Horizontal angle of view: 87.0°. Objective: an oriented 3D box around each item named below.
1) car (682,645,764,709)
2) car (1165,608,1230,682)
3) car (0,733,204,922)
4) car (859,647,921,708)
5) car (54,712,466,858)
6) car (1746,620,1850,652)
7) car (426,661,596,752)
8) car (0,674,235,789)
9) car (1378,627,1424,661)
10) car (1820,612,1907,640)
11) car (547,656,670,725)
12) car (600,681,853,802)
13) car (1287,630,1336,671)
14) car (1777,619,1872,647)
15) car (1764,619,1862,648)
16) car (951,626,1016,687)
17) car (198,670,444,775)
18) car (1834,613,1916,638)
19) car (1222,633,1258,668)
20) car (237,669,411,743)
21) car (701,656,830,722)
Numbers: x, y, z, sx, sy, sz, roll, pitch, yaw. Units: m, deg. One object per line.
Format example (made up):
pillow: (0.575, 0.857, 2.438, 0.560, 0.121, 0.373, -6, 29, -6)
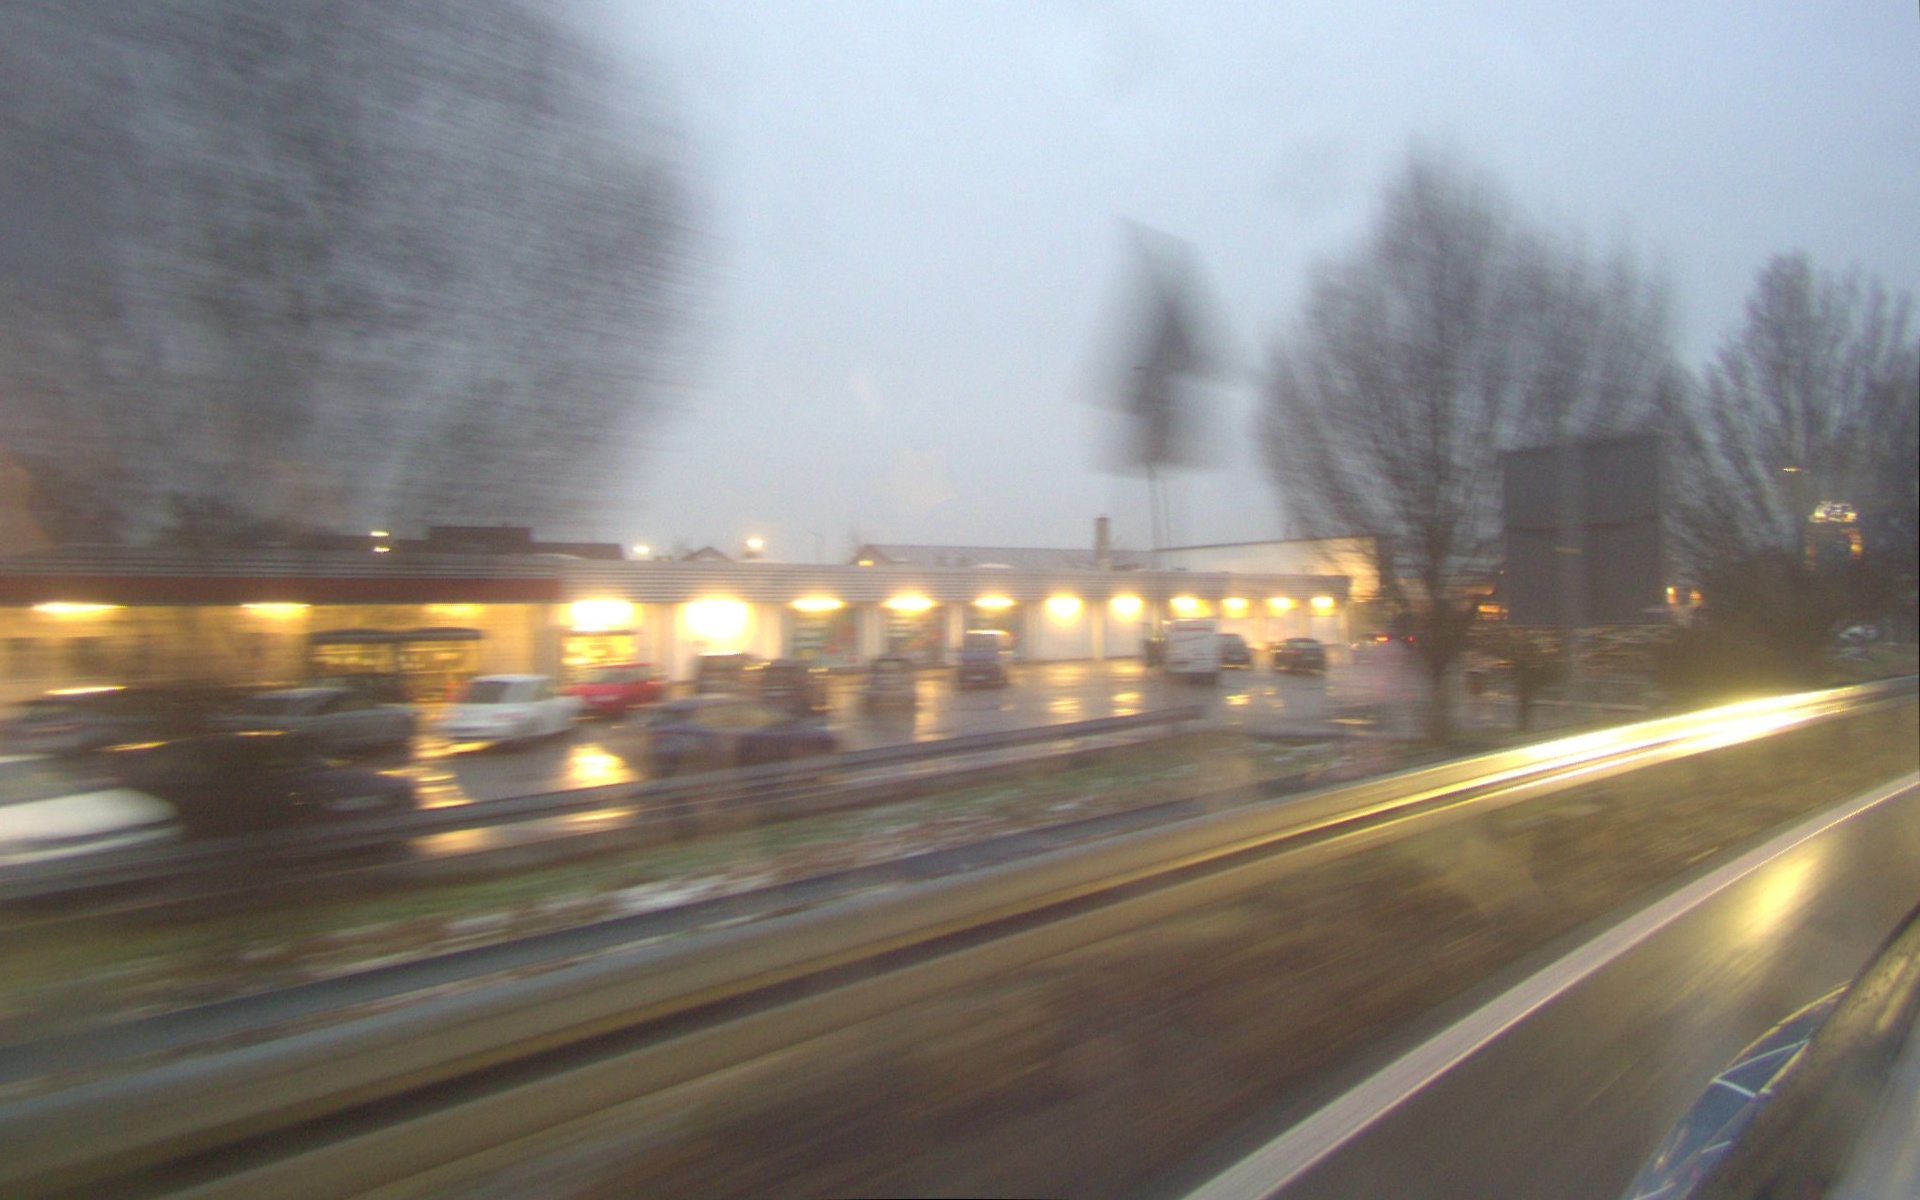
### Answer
car: (-7.142, 2.289, 30.837, 1.766, 1.615, 3.982, 0, 0, -3)
car: (9.051, 1.617, 38.744, 2.246, 2.470, 5.220, 0, 1, 13)
car: (-10.990, 2.315, 11.002, 4.631, 1.414, 1.898, 0, 1, 12)
car: (-2.082, 2.235, 29.862, 1.686, 1.536, 3.260, -1, 0, -4)
car: (-8.759, 2.281, 12.882, 4.106, 1.414, 1.849, 0, 1, 5)
car: (43.145, 1.829, 52.170, 1.687, 1.450, 4.003, 0, 1, -44)
car: (-9.945, 2.300, 22.835, 1.792, 1.660, 4.467, 0, -1, 1)
car: (-15.607, 2.302, 18.601, 1.574, 1.605, 3.619, 0, 0, 12)
car: (20.524, 2.023, 47.178, 1.508, 1.355, 3.570, 0, 1, 16)
car: (57.715, 1.617, 64.699, 1.776, 1.617, 4.005, 0, 1, -43)
car: (-9.615, 2.425, 28.009, 1.697, 1.520, 4.019, 0, 0, 6)
car: (-3.842, 2.254, 16.931, 3.744, 1.447, 1.771, -1, 1, -40)
car: (14.643, 2.064, 42.292, 1.691, 1.430, 3.994, 0, 1, 16)
car: (49.720, 1.867, 58.236, 1.686, 1.430, 4.005, 0, 1, -43)
car: (47.243, 1.828, 56.099, 1.686, 1.430, 4.005, 0, 1, -43)
car: (0.933, 2.006, 37.201, 1.855, 1.983, 4.949, -1, -1, 7)
car: (-12.661, 2.345, 20.461, 1.775, 1.554, 4.535, 0, 0, 6)
car: (62.058, 1.717, 68.658, 1.686, 1.551, 4.005, 0, 1, -43)
car: (12.717, 2.253, 45.930, 1.508, 1.355, 3.570, 0, 1, 16)
car: (-15.064, 2.471, 24.208, 1.573, 1.364, 3.623, 0, 0, 8)
car: (-5.017, 2.295, 26.395, 3.192, 1.555, 1.393, -1, -1, -6)
